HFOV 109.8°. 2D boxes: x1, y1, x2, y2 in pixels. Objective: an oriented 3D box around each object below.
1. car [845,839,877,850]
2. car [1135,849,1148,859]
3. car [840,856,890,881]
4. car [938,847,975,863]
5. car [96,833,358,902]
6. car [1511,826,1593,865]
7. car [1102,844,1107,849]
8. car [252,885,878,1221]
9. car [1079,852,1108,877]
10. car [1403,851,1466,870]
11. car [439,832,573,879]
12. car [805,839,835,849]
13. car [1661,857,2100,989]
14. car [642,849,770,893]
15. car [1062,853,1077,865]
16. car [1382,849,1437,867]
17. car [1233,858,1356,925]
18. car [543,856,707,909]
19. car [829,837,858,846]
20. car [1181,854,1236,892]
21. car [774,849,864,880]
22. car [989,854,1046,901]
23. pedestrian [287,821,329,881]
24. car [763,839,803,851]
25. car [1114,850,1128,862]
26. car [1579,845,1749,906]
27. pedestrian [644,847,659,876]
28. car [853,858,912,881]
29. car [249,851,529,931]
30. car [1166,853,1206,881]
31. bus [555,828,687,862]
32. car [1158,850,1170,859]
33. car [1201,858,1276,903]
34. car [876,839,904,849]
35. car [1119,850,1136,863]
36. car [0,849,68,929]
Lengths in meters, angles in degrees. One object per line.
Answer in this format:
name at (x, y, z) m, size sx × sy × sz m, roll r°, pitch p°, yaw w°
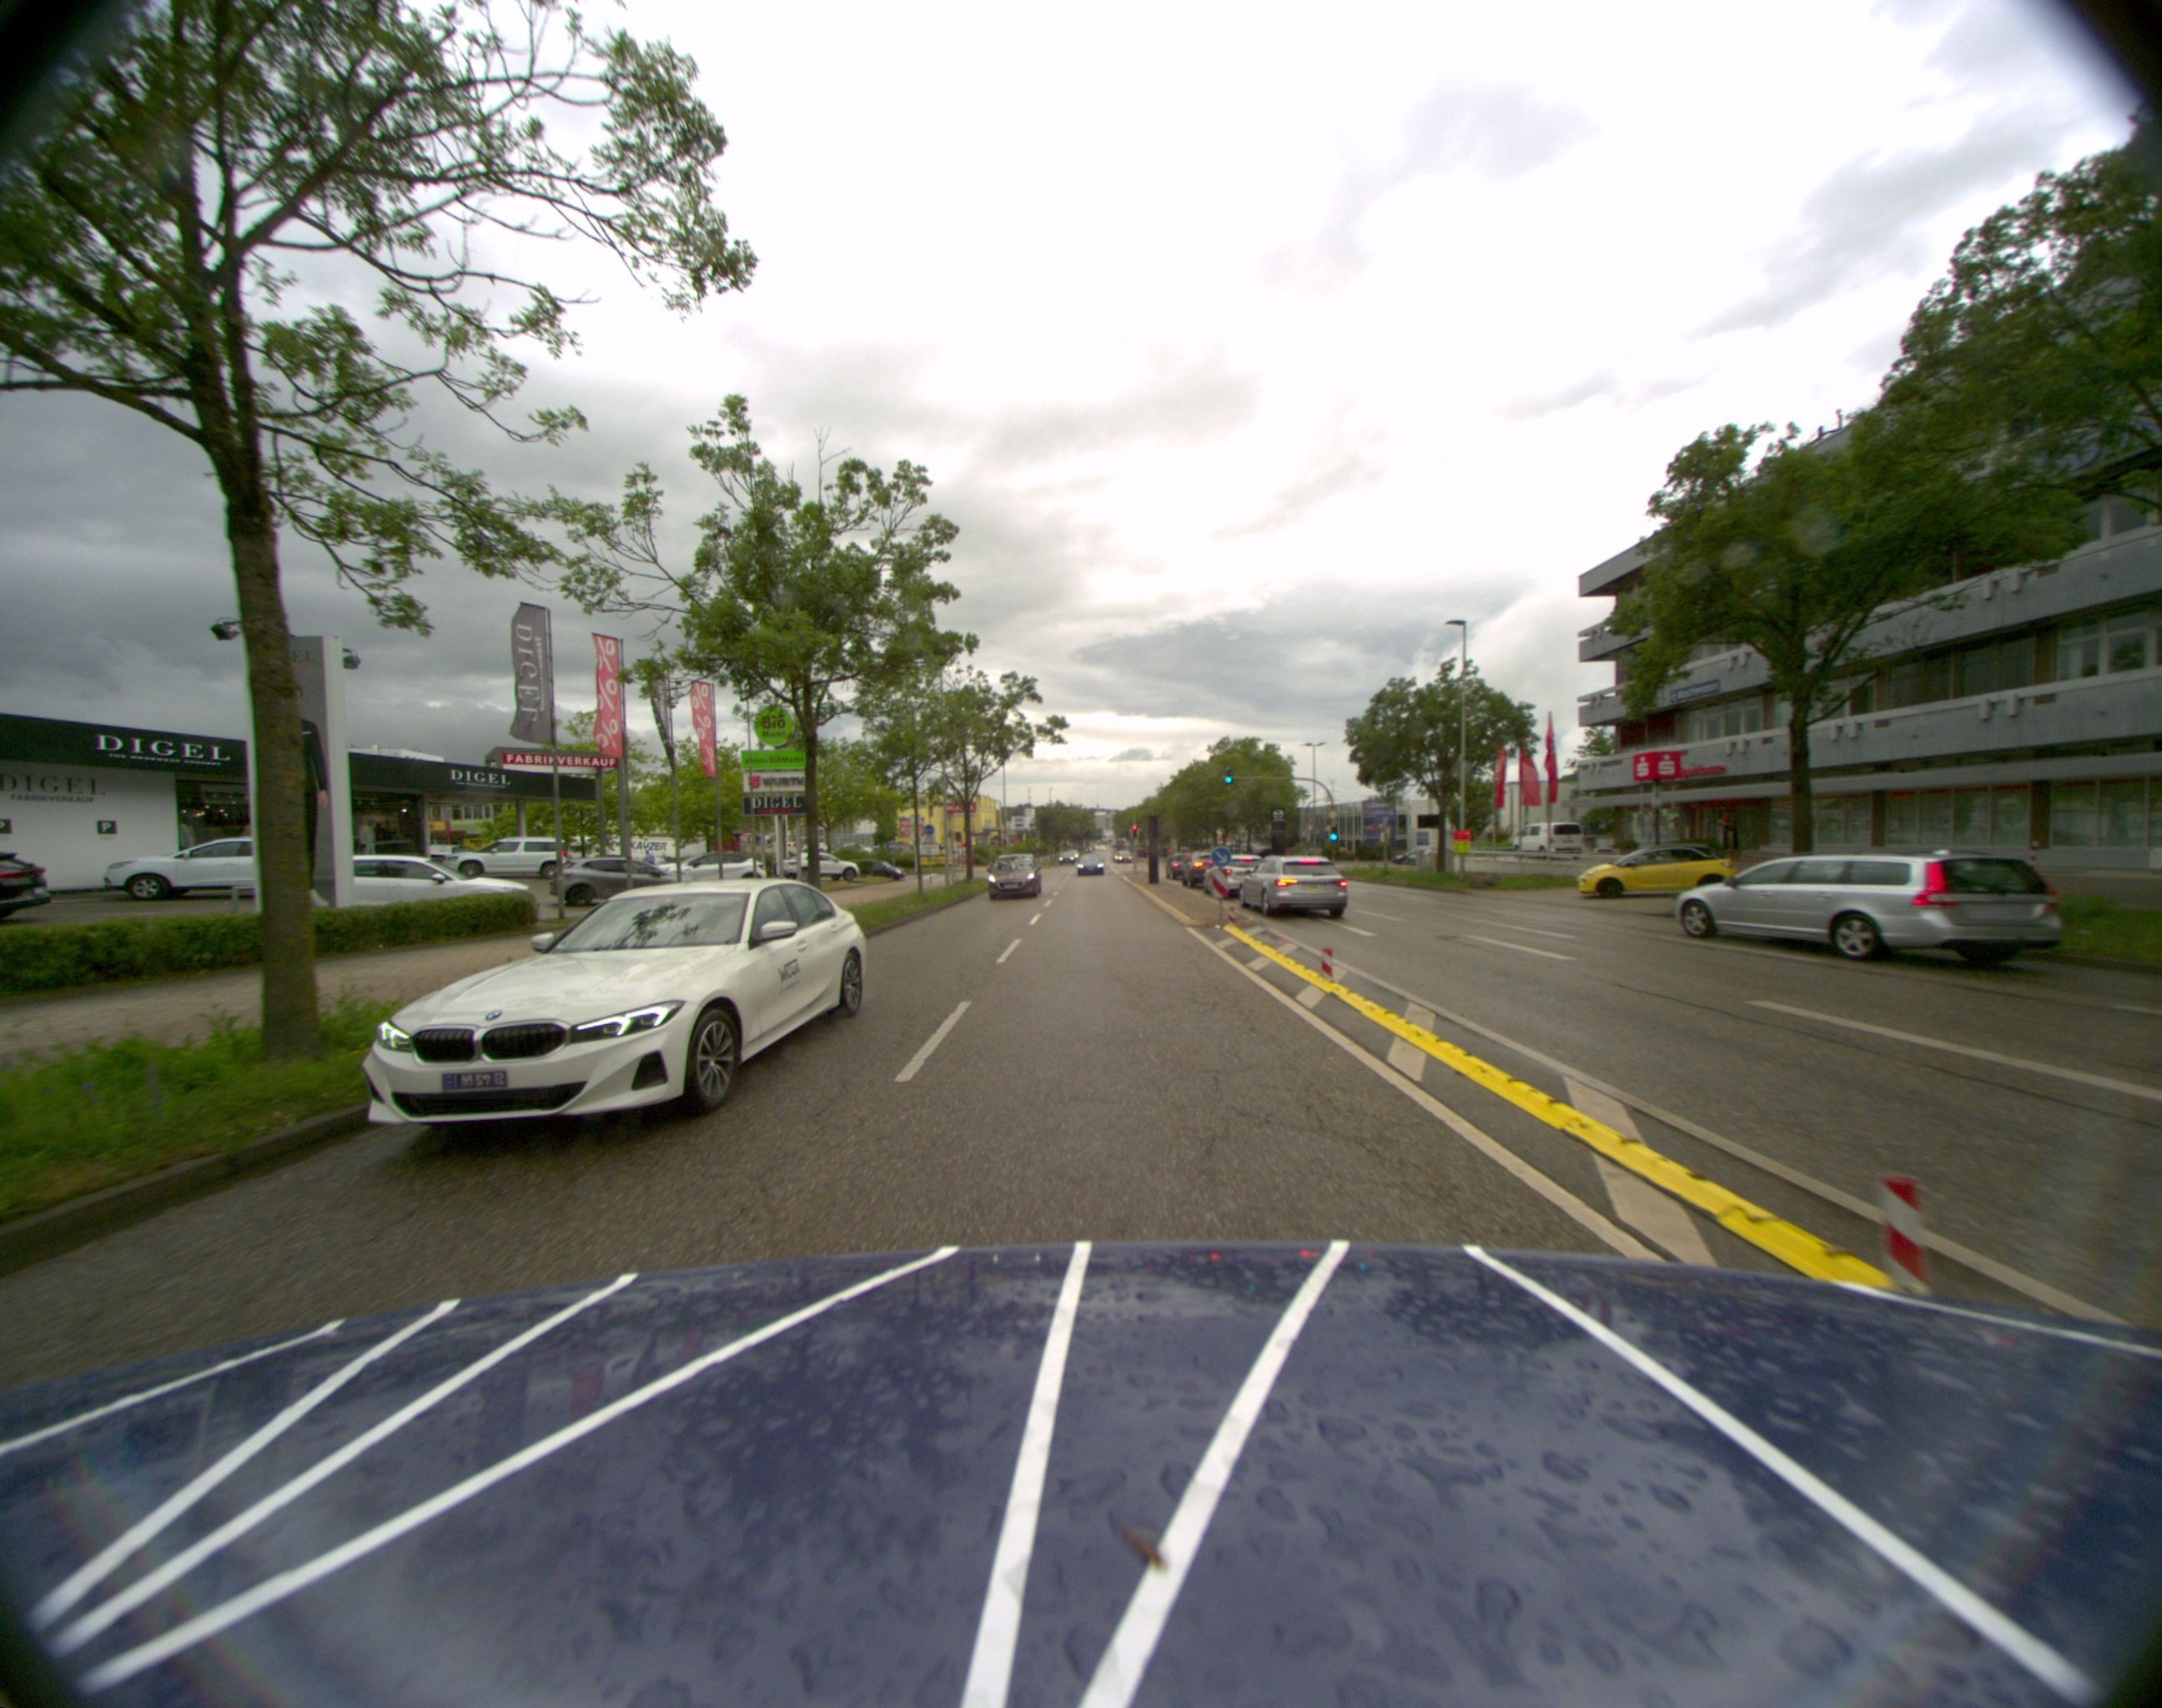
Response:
car at (-31.261, -1.351, 107.868) m, size 3.996 × 1.501 × 1.800 m, roll 0°, pitch 0°, yaw 1°
car at (9.803, 0.014, 123.311) m, size 1.753 × 1.501 × 4.000 m, roll 0°, pitch 0°, yaw 1°
car at (-13.869, 0.952, 48.718) m, size 1.747 × 1.570 × 3.864 m, roll 0°, pitch -1°, yaw -38°
car at (-14.009, 0.134, 85.619) m, size 4.000 × 1.802 × 1.766 m, roll 0°, pitch 0°, yaw -10°
car at (-23.139, 0.373, 20.905) m, size 4.507 × 1.672 × 1.794 m, roll 2°, pitch 2°, yaw -37°
car at (26.530, -0.474, 43.020) m, size 1.998 × 2.002 × 4.887 m, roll -3°, pitch 1°, yaw 6°
car at (7.349, -2.445, 237.414) m, size 1.753 × 1.501 × 4.000 m, roll 0°, pitch 0°, yaw 2°
car at (-3.209, 1.098, 6.098) m, size 1.808 × 1.432 × 4.542 m, roll -3°, pitch 0°, yaw 1°
car at (0.840, 0.685, 52.701) m, size 1.799 × 1.572 × 4.218 m, roll -3°, pitch 0°, yaw -1°
car at (30.278, 0.545, 65.225) m, size 4.518 × 1.647 × 1.955 m, roll 0°, pitch 0°, yaw 6°
car at (-23.169, 0.065, 30.700) m, size 4.125 × 1.736 × 1.794 m, roll 1°, pitch 2°, yaw -42°
car at (-42.411, -1.617, 123.458) m, size 4.220 × 1.572 × 1.824 m, roll 0°, pitch 0°, yaw 1°
car at (11.495, 0.840, 11.591) m, size 1.745 × 1.544 × 4.782 m, roll 1°, pitch 0°, yaw 2°
car at (-14.566, 0.653, 29.611) m, size 4.186 × 1.570 × 1.738 m, roll 2°, pitch 1°, yaw -37°
car at (-1.422, 0.583, 93.109) m, size 1.753 × 1.501 × 4.000 m, roll 0°, pitch 0°, yaw 1°
car at (31.425, 0.404, 72.785) m, size 4.518 × 1.647 × 1.955 m, roll 0°, pitch 0°, yaw 6°
car at (5.089, 0.831, 18.786) m, size 1.788 × 1.398 × 4.616 m, roll 0°, pitch 0°, yaw 0°
car at (-13.889, 0.836, 23.264) m, size 4.028 × 1.429 × 1.738 m, roll 1°, pitch 1°, yaw -42°
car at (-40.693, -2.136, 130.213) m, size 4.220 × 1.572 × 1.824 m, roll 0°, pitch 0°, yaw 1°
car at (5.398, 0.747, 32.541) m, size 1.753 × 1.516 × 4.000 m, roll 0°, pitch 0°, yaw 1°
car at (-14.275, 0.576, 41.565) m, size 4.324 × 1.570 × 1.738 m, roll 1°, pitch 1°, yaw -44°
car at (-2.385, 0.846, 29.478) m, size 1.799 × 1.572 × 4.218 m, roll -3°, pitch 0°, yaw 0°
pedestrian at (-26.461, -0.090, 26.026) m, size 0.613 × 2.002 × 0.657 m, roll -3°, pitch 1°, yaw 2°
car at (-43.775, -1.286, 111.578) m, size 5.092 × 1.787 × 2.035 m, roll 0°, pitch 0°, yaw 1°
car at (5.253, 0.269, 100.593) m, size 1.753 × 1.501 × 4.000 m, roll 0°, pitch 0°, yaw 1°
car at (16.635, 0.640, 21.864) m, size 3.702 × 1.500 × 1.624 m, roll -4°, pitch 2°, yaw 37°
pedestrian at (-24.915, 0.437, 44.100) m, size 0.471 × 1.671 × 0.569 m, roll -1°, pitch 0°, yaw 14°
car at (-15.110, 1.157, 57.918) m, size 3.998 × 1.502 × 1.742 m, roll -2°, pitch 3°, yaw -4°
car at (-14.360, 0.735, 16.157) m, size 4.191 × 1.464 × 1.785 m, roll 2°, pitch 1°, yaw -35°
car at (5.853, 0.711, 42.630) m, size 1.753 × 1.501 × 4.000 m, roll 0°, pitch 0°, yaw 1°
bus at (-52.438, -0.943, 87.840) m, size 4.101 × 3.493 × 17.335 m, roll 0°, pitch 0°, yaw 2°
car at (13.906, 0.109, 127.206) m, size 1.753 × 1.566 × 4.000 m, roll 0°, pitch 0°, yaw 1°
car at (5.229, 0.837, 25.749) m, size 1.745 × 1.398 × 4.000 m, roll 0°, pitch 0°, yaw 0°
car at (-30.463, -1.559, 121.035) m, size 3.996 × 1.501 × 1.800 m, roll 0°, pitch 0°, yaw 1°
car at (5.396, 0.322, 88.880) m, size 1.753 × 1.501 × 4.000 m, roll 0°, pitch 0°, yaw 1°
car at (-22.600, 0.651, 14.244) m, size 4.051 × 1.470 × 1.794 m, roll 1°, pitch 2°, yaw -41°
